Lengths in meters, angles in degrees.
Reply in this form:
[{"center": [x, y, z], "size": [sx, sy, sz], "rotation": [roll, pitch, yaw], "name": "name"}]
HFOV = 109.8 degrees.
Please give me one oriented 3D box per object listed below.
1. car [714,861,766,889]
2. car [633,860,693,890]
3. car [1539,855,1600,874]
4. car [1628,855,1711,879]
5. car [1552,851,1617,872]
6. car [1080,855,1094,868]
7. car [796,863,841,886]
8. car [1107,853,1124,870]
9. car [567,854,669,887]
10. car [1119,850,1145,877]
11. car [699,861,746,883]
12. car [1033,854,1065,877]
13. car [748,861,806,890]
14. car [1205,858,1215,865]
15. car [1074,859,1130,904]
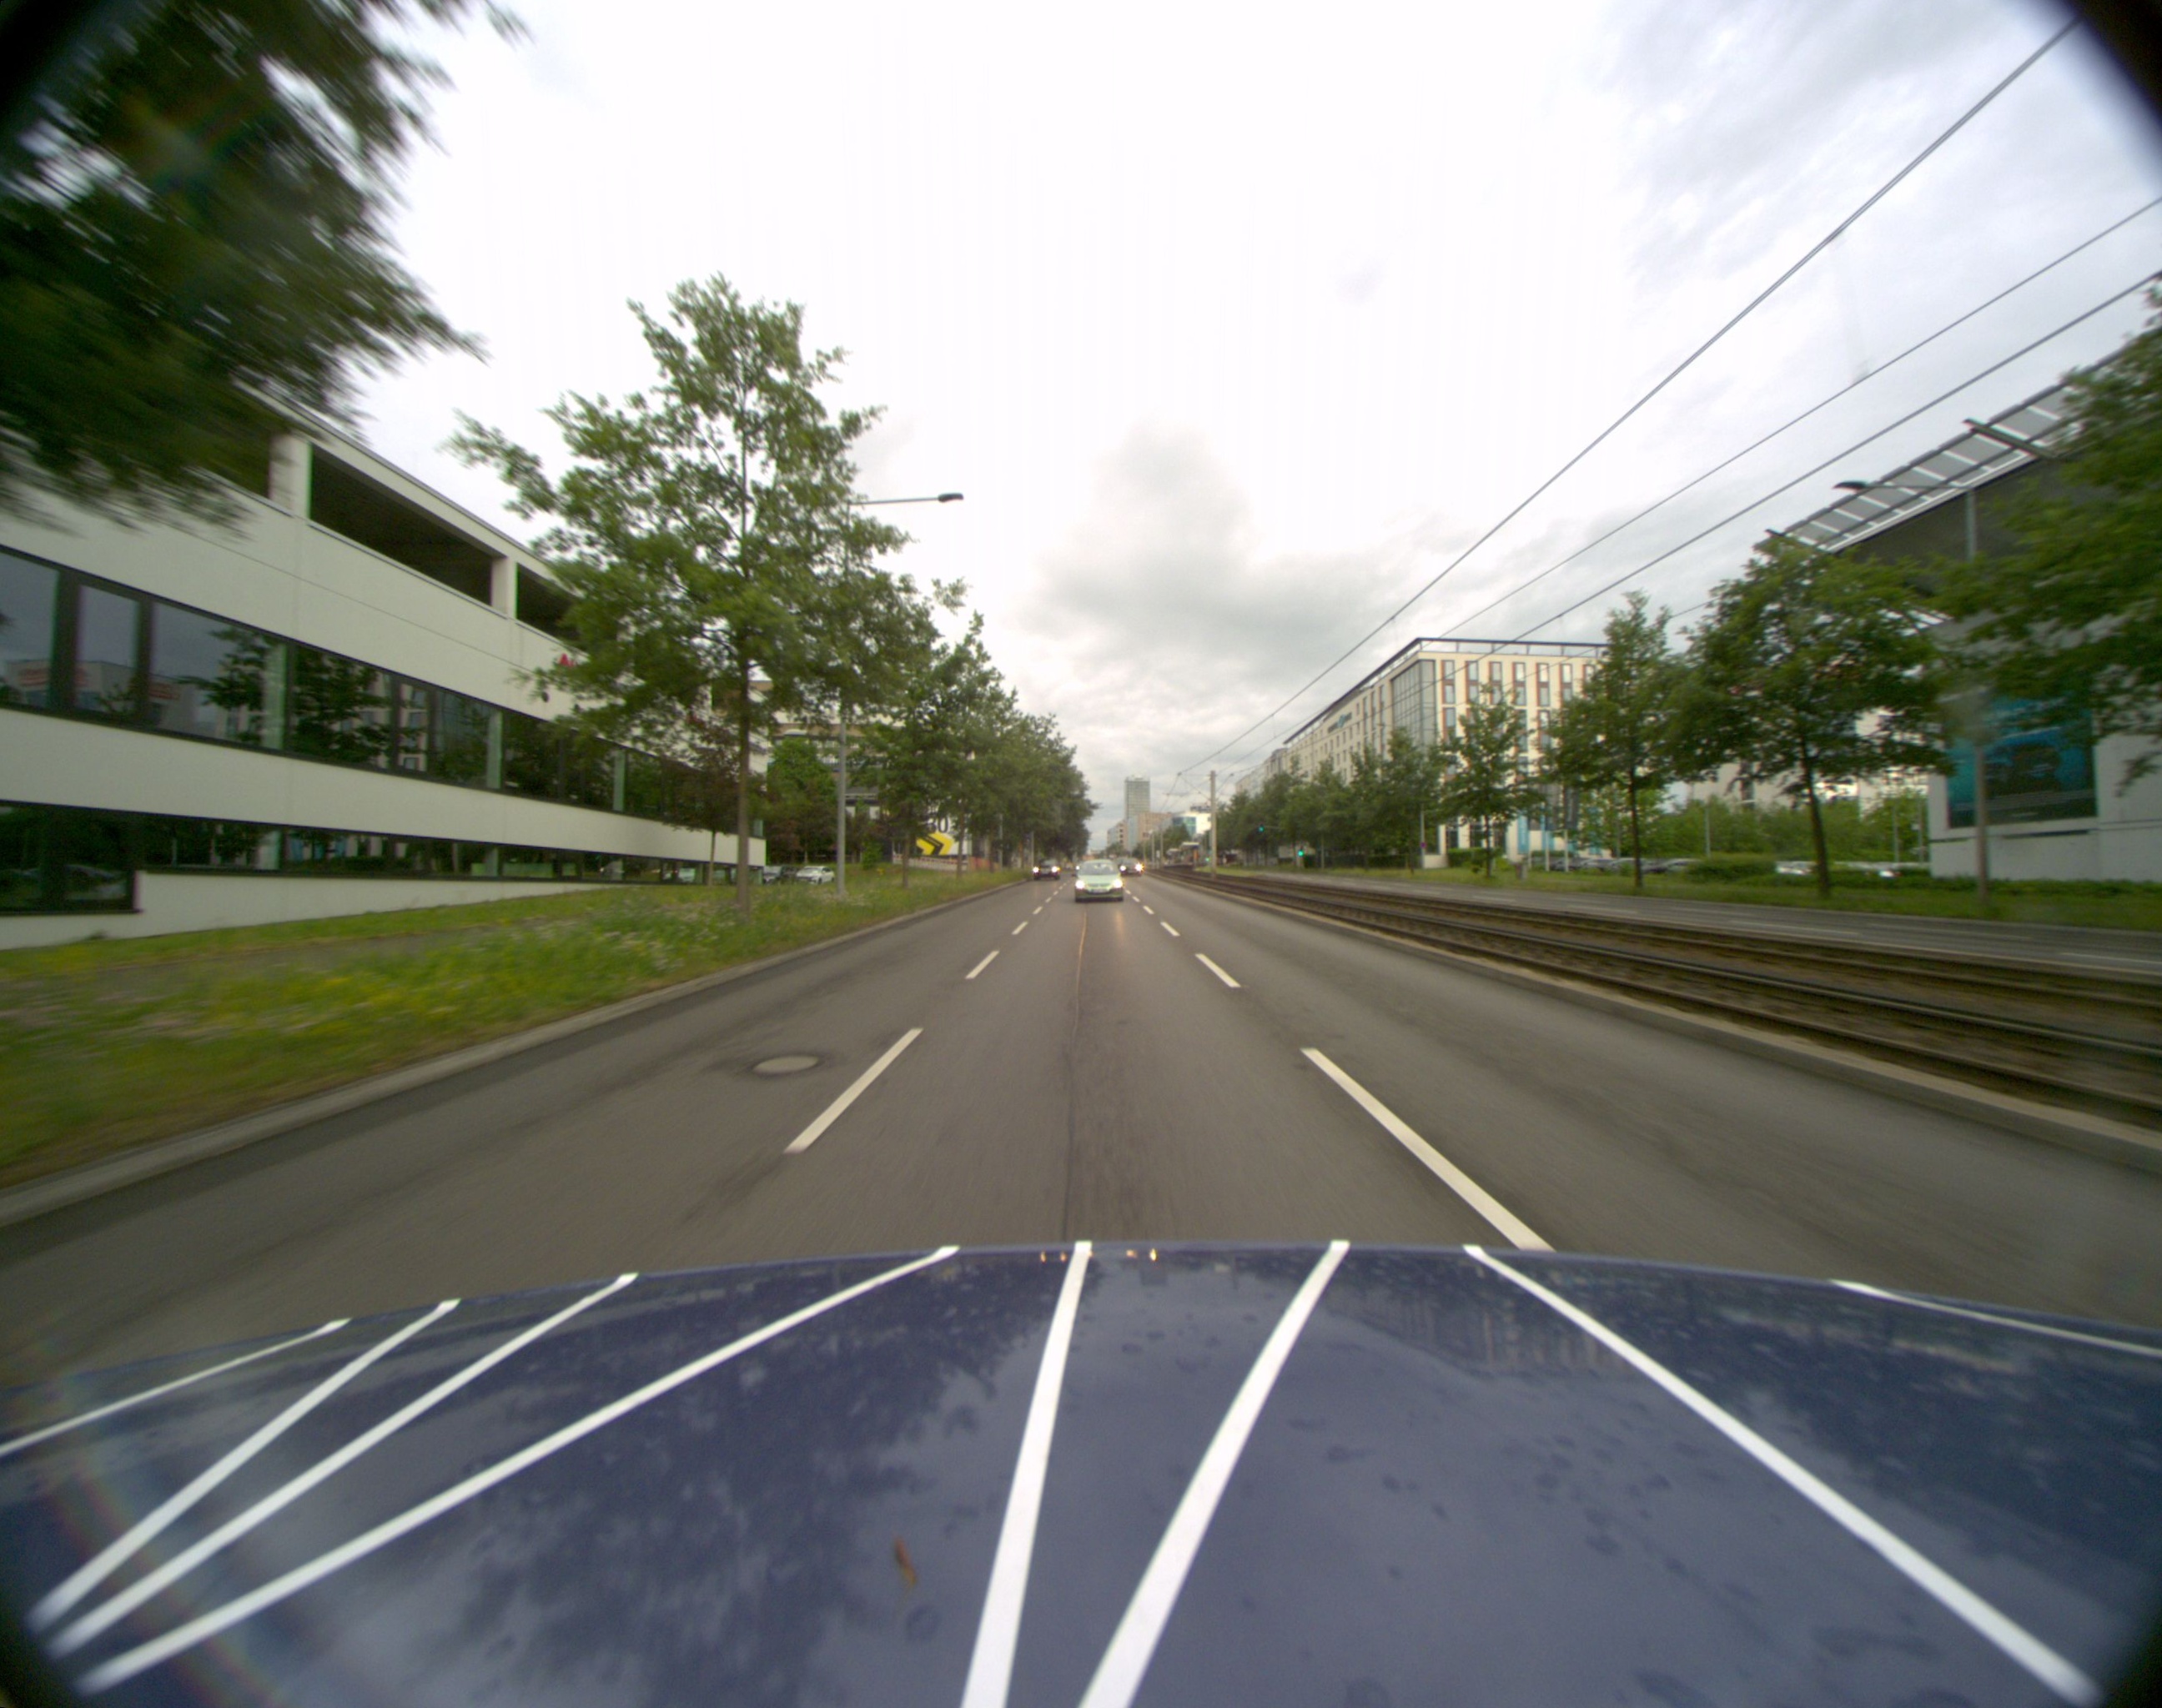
[{"center": [-22.044, 1.328, 49.277], "size": [1.702, 1.666, 3.642], "rotation": [1, 1, 0], "name": "car"}, {"center": [-26.659, 1.302, 48.602], "size": [1.702, 1.666, 3.642], "rotation": [-4, 1, 0], "name": "car"}, {"center": [39.529, 0.860, 61.558], "size": [3.990, 1.383, 1.806], "rotation": [-2, 1, 28], "name": "car"}, {"center": [38.280, 0.847, 49.527], "size": [3.990, 1.383, 1.806], "rotation": [-2, 1, 28], "name": "car"}, {"center": [38.830, 0.586, 58.729], "size": [3.990, 1.383, 1.806], "rotation": [-2, 1, 28], "name": "car"}, {"center": [0.915, 1.181, 116.776], "size": [1.860, 1.798, 4.116], "rotation": [-2, -2, 3], "name": "car"}, {"center": [-19.286, 1.451, 56.072], "size": [1.702, 1.476, 4.461], "rotation": [-2, 1, 0], "name": "car"}, {"center": [4.105, 0.891, 89.601], "size": [1.860, 1.798, 4.116], "rotation": [-2, -2, 5], "name": "car"}, {"center": [-26.230, 0.994, 43.186], "size": [1.698, 1.665, 4.543], "rotation": [-2, -5, 38], "name": "car"}, {"center": [4.120, 0.762, 61.699], "size": [1.998, 2.002, 4.001], "rotation": [-3, 1, 4], "name": "car"}, {"center": [-26.774, 1.343, 56.823], "size": [1.702, 1.476, 3.642], "rotation": [-2, 1, 0], "name": "car"}, {"center": [-2.437, 0.920, 58.307], "size": [1.828, 1.599, 4.117], "rotation": [-2, -2, 5], "name": "car"}, {"center": [-19.465, 1.350, 48.880], "size": [1.907, 1.666, 4.589], "rotation": [1, 1, 0], "name": "car"}, {"center": [26.589, 1.606, 157.025], "size": [1.701, 1.356, 3.818], "rotation": [2, 0, 4], "name": "car"}, {"center": [0.851, 0.989, 28.118], "size": [1.828, 1.499, 4.116], "rotation": [-2, -1, 4], "name": "car"}]
